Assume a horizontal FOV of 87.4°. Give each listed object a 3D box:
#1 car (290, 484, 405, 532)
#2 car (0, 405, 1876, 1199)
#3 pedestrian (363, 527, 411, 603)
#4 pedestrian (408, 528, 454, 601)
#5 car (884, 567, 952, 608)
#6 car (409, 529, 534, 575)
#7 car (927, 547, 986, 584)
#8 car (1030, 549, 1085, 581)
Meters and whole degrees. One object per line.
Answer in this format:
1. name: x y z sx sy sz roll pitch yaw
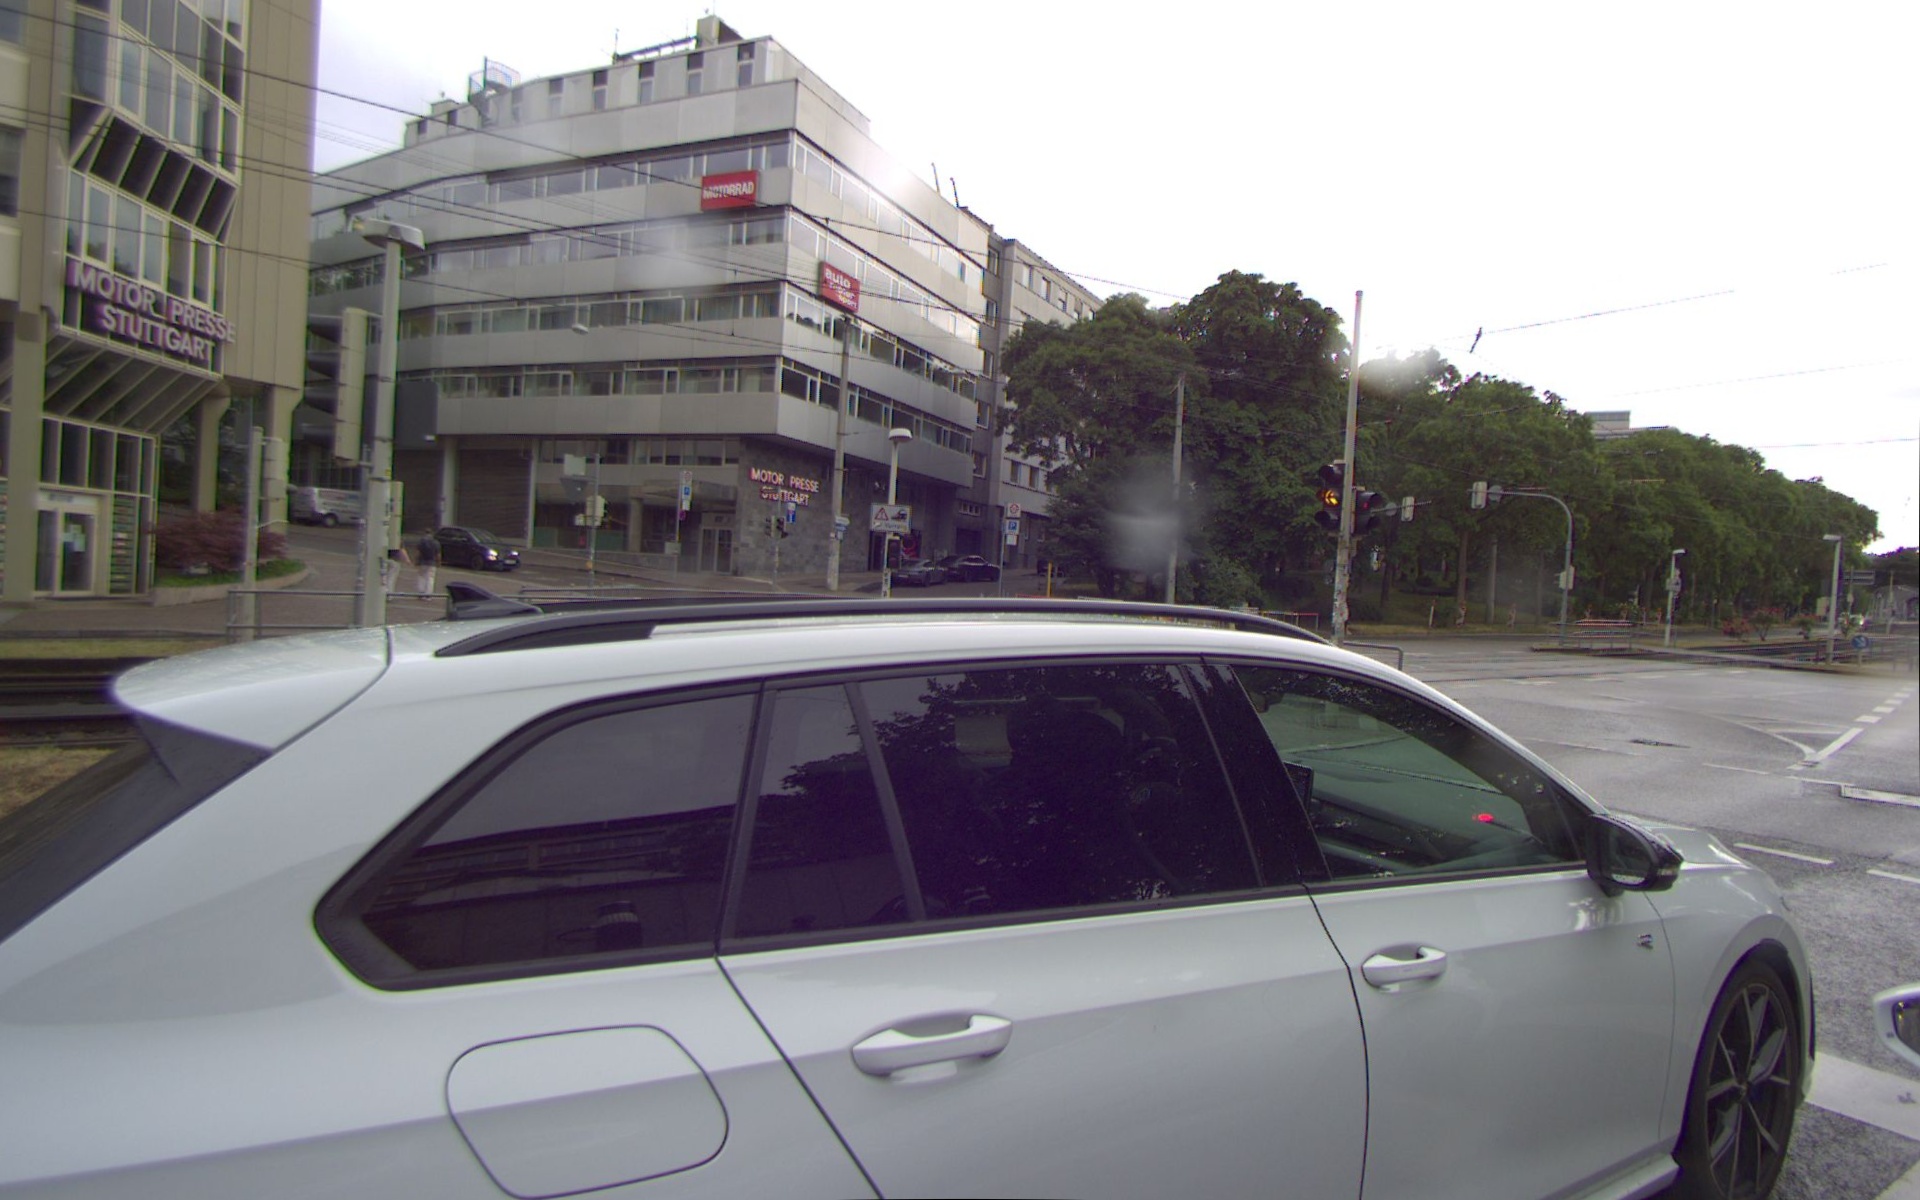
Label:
1. car: -32.068 -4.783 52.739 1.963 2.040 4.831 5 2 26
2. car: 0.117 0.663 2.255 4.203 1.597 1.670 2 1 -31
3. pedestrian: -14.369 -0.870 25.185 0.630 1.811 0.808 6 3 36
4. pedestrian: -13.713 -0.910 26.043 0.630 1.811 0.808 6 3 36
5. car: -2.063 -0.636 50.758 1.961 1.818 4.000 5 2 19
6. car: -18.079 -1.766 37.227 3.920 1.383 1.830 5 2 16
7. car: -0.159 -1.943 55.620 1.961 1.818 3.998 5 5 19
8. car: 6.436 -2.279 65.904 1.964 1.818 4.202 6 2 30
